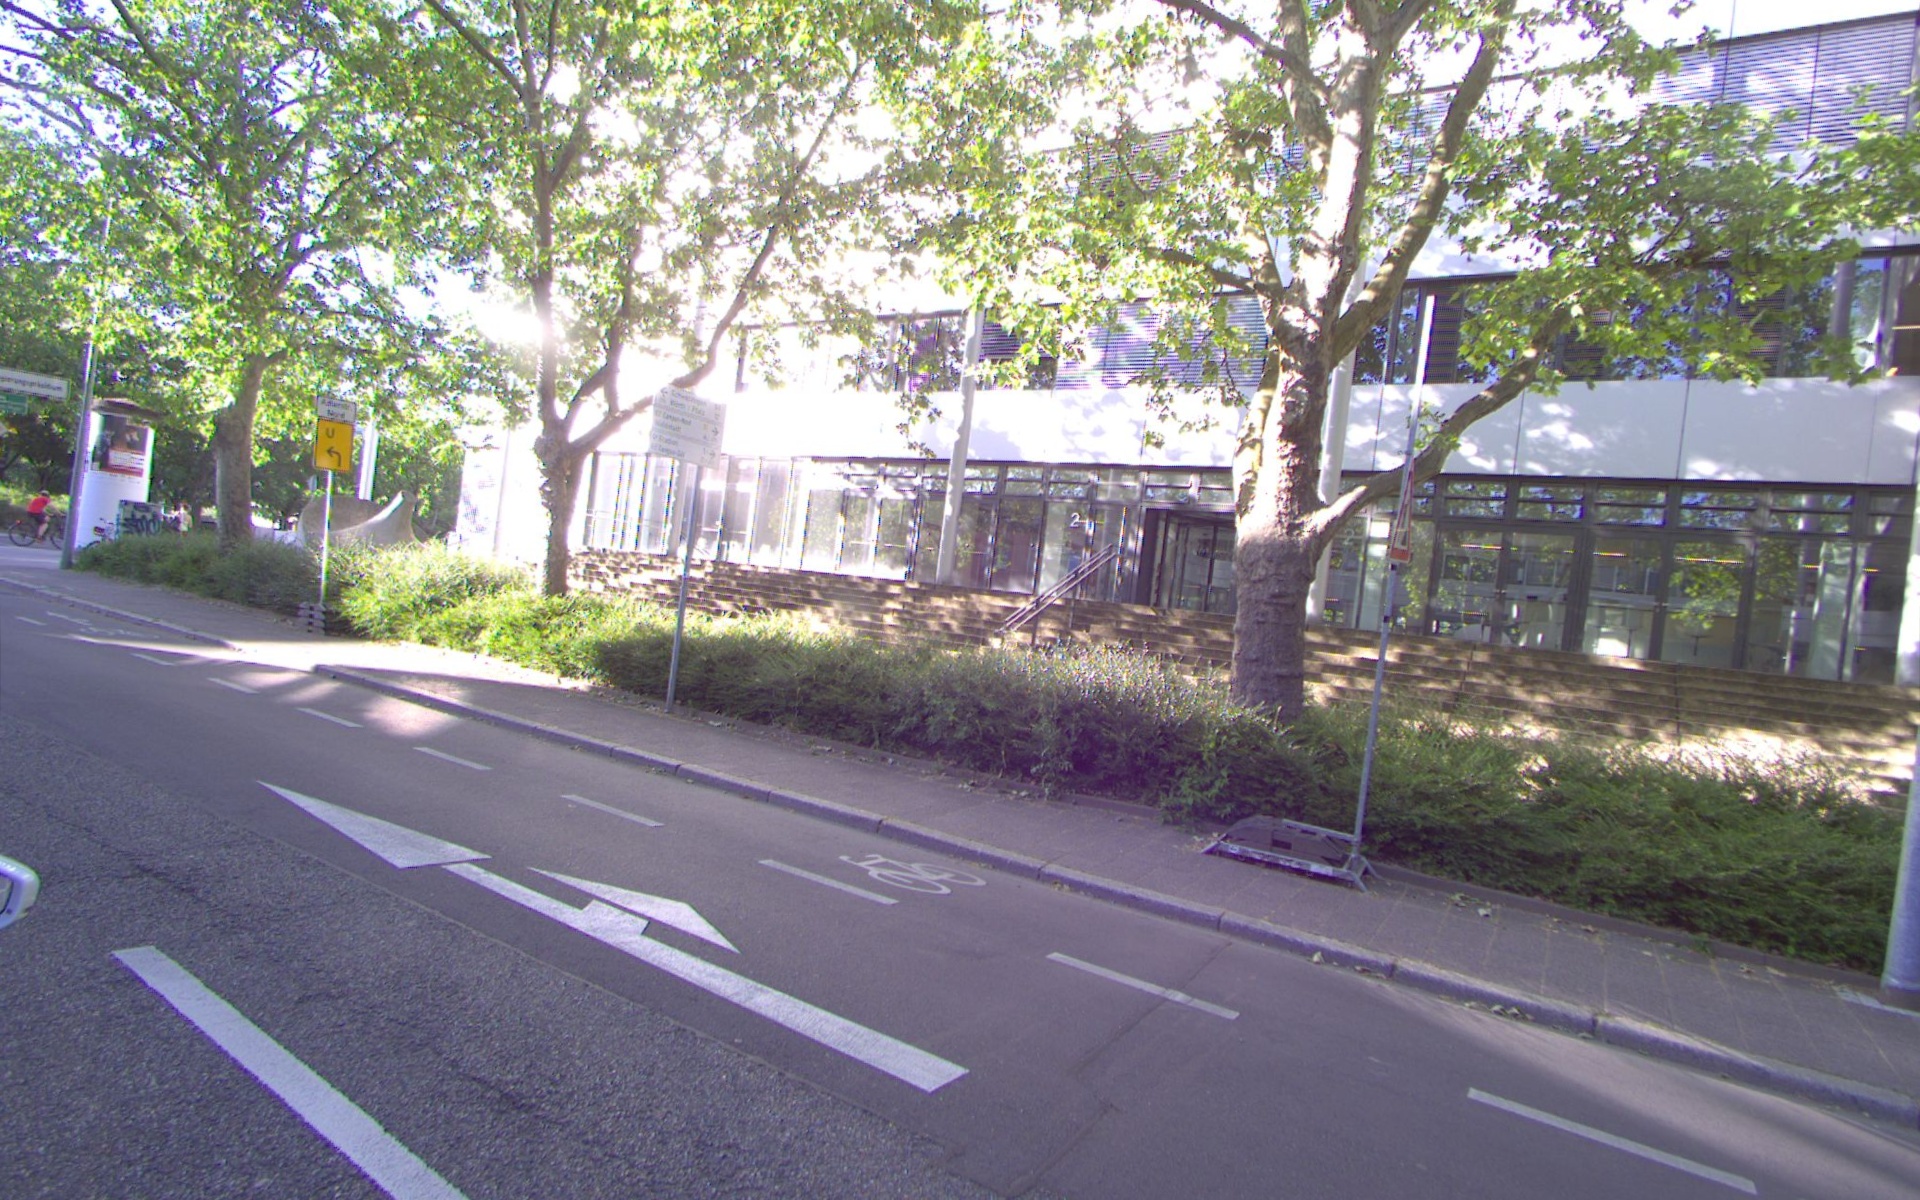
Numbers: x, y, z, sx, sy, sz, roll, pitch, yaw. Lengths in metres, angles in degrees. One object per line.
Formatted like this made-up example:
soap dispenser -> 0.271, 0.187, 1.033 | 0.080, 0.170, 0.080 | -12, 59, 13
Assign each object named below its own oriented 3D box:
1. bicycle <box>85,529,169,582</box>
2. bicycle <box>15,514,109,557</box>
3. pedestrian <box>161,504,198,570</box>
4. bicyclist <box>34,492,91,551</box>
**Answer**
bicycle -> -19.193, -1.008, 23.201 | 0.357, 1.036, 1.354 | 7, -1, 33
bicycle -> -28.267, -2.008, 31.702 | 0.754, 0.992, 2.009 | 11, 1, 33
pedestrian -> -23.419, -1.885, 30.198 | 0.584, 1.871, 0.552 | 7, 0, 33
bicyclist -> -28.222, -2.467, 31.637 | 0.754, 1.634, 1.040 | 11, 2, 33
